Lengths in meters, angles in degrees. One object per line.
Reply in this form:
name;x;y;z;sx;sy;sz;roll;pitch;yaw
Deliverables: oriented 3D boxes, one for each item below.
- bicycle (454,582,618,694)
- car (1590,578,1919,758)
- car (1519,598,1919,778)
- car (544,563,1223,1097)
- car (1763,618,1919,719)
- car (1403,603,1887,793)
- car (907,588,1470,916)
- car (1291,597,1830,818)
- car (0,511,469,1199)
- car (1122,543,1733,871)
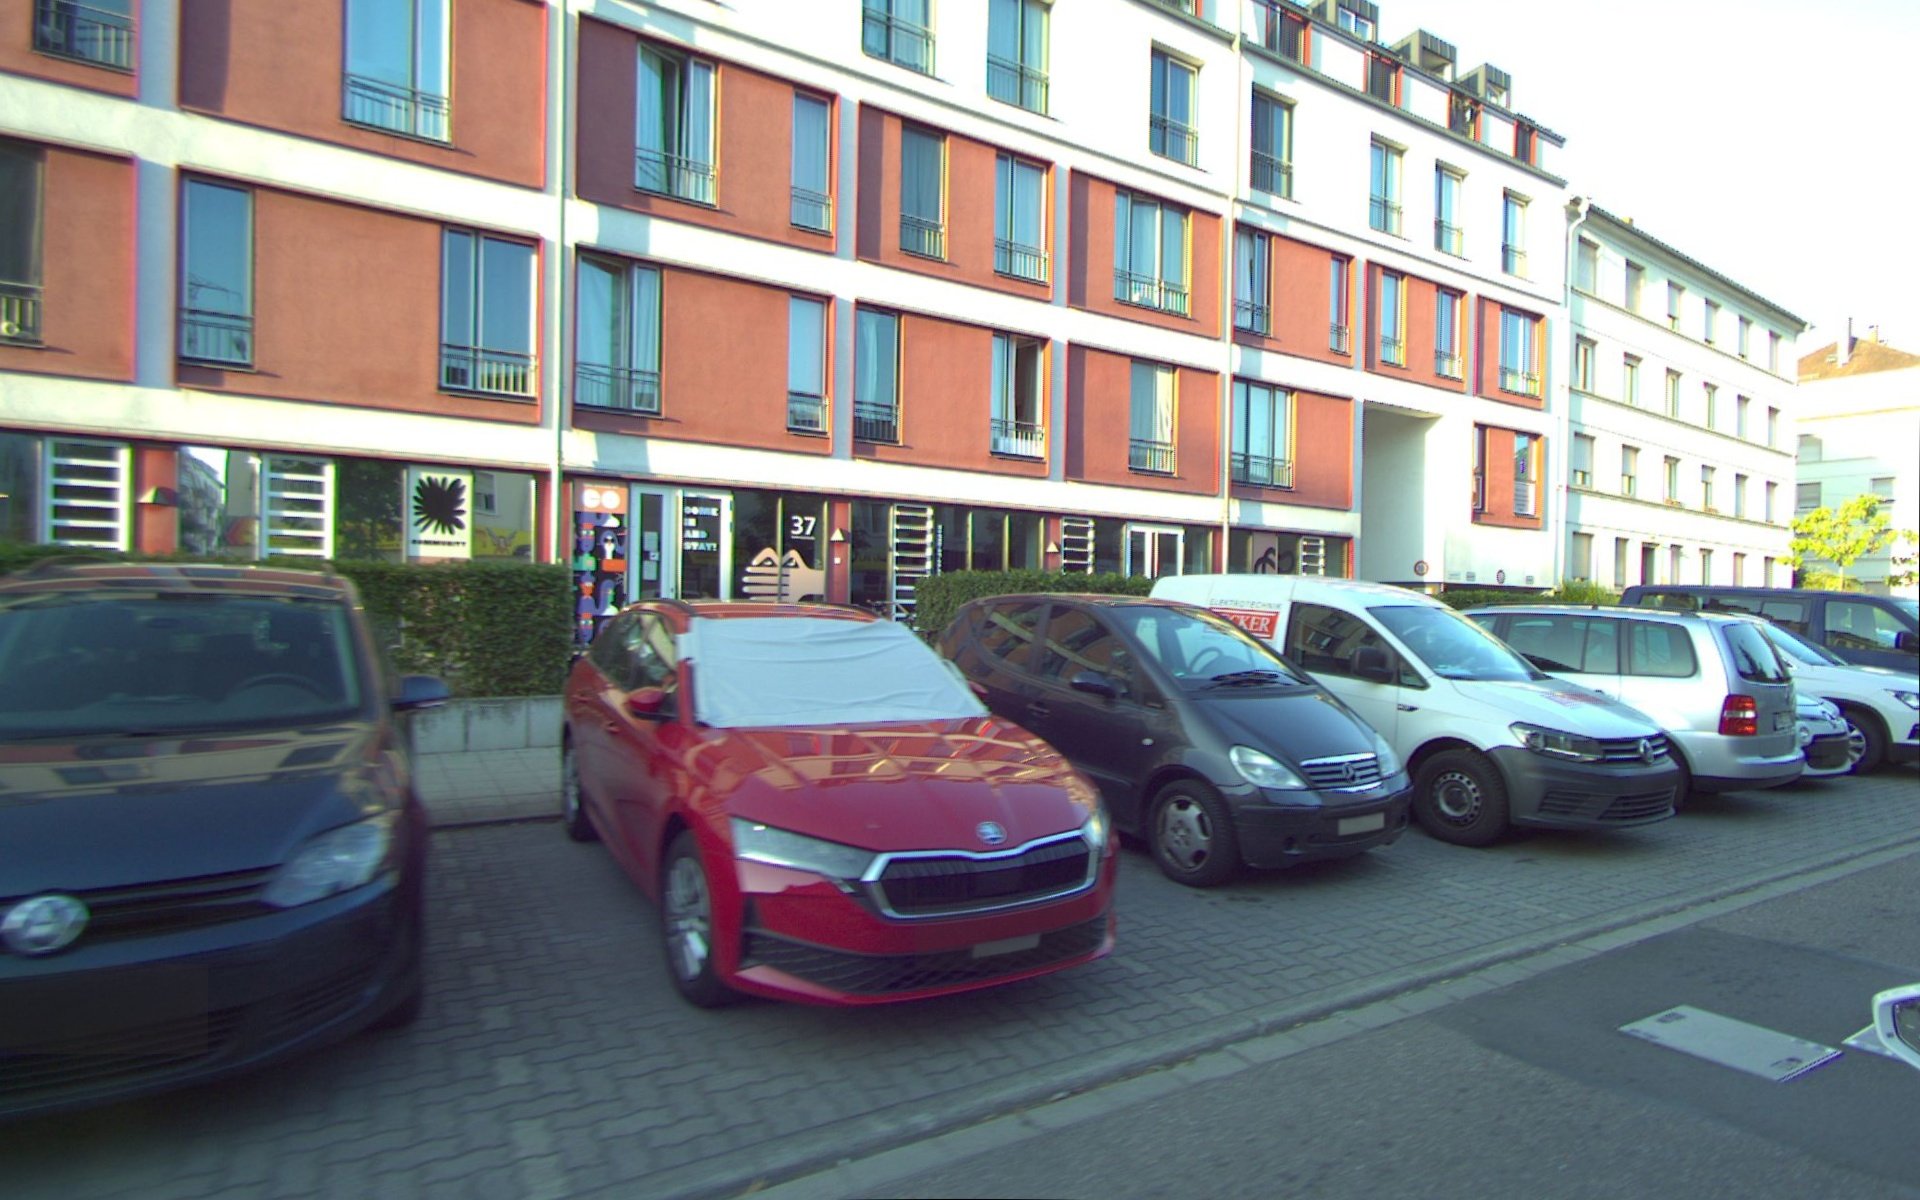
bicycle;-5.244;0.464;12.488;1.781;1.331;0.514;1;0;-6
car;11.364;0.798;13.277;1.975;2.082;4.834;0;0;-29
car;9.198;0.885;11.875;1.880;1.746;4.163;1;-1;-31
car;-0.853;0.659;5.138;1.768;1.513;4.241;1;0;-31
car;15.453;1.129;15.771;1.722;1.435;4.109;1;2;-36
car;7.113;0.877;10.857;1.777;1.639;3.965;1;-1;-32
car;1.288;0.744;6.877;1.765;1.583;3.509;1;0;-33
car;5.456;0.810;9.505;2.037;1.610;3.953;1;-1;-40
car;-3.050;0.585;4.084;1.679;1.639;3.869;1;0;-29
car;3.409;0.637;8.161;1.876;1.921;4.155;1;0;-31
